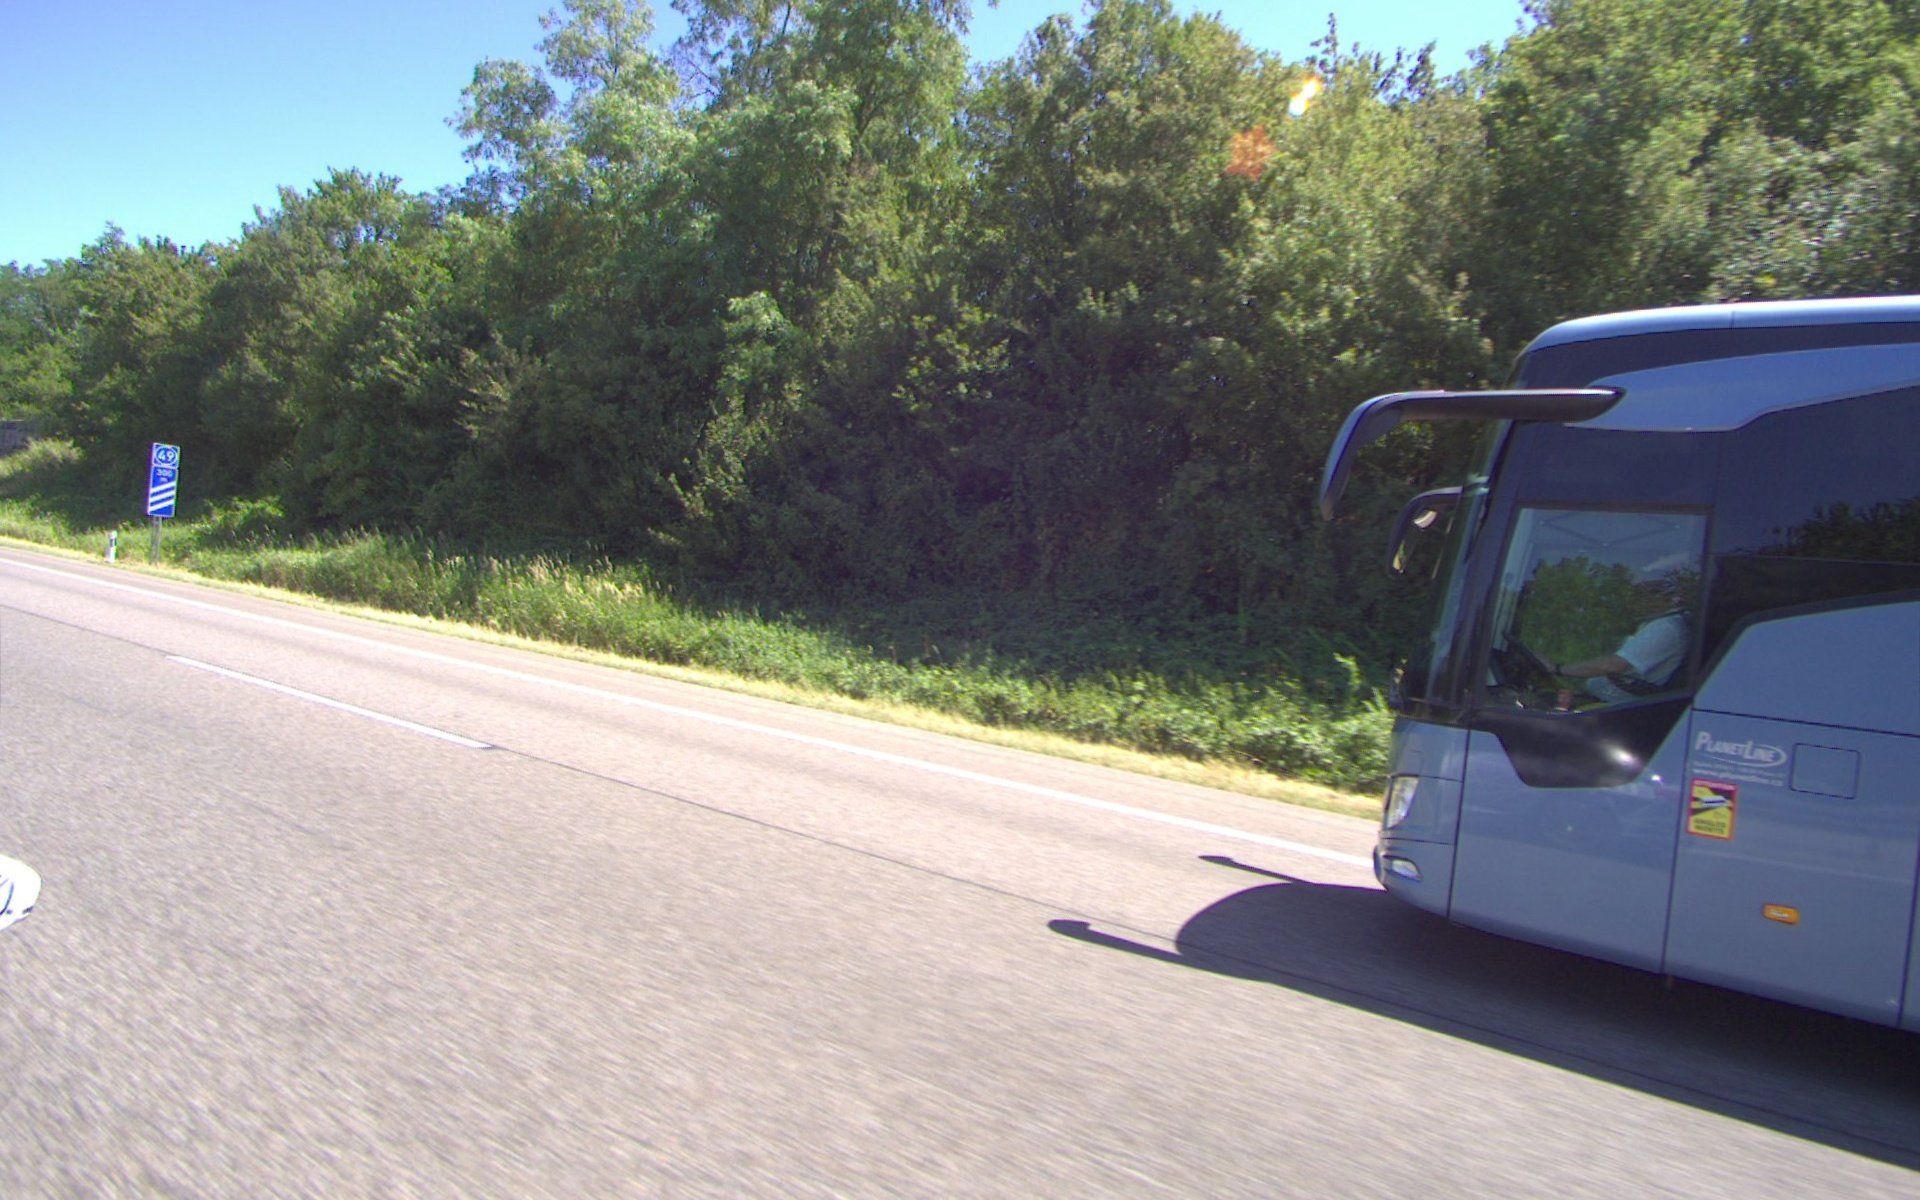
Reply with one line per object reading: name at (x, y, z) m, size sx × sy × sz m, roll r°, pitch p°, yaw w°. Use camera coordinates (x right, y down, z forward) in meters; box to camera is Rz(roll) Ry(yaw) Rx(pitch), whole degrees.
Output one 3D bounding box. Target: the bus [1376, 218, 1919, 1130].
bus at (8.201, 0.793, 3.051) m, size 12.265 × 3.639 × 2.807 m, roll 6°, pitch -1°, yaw 31°
